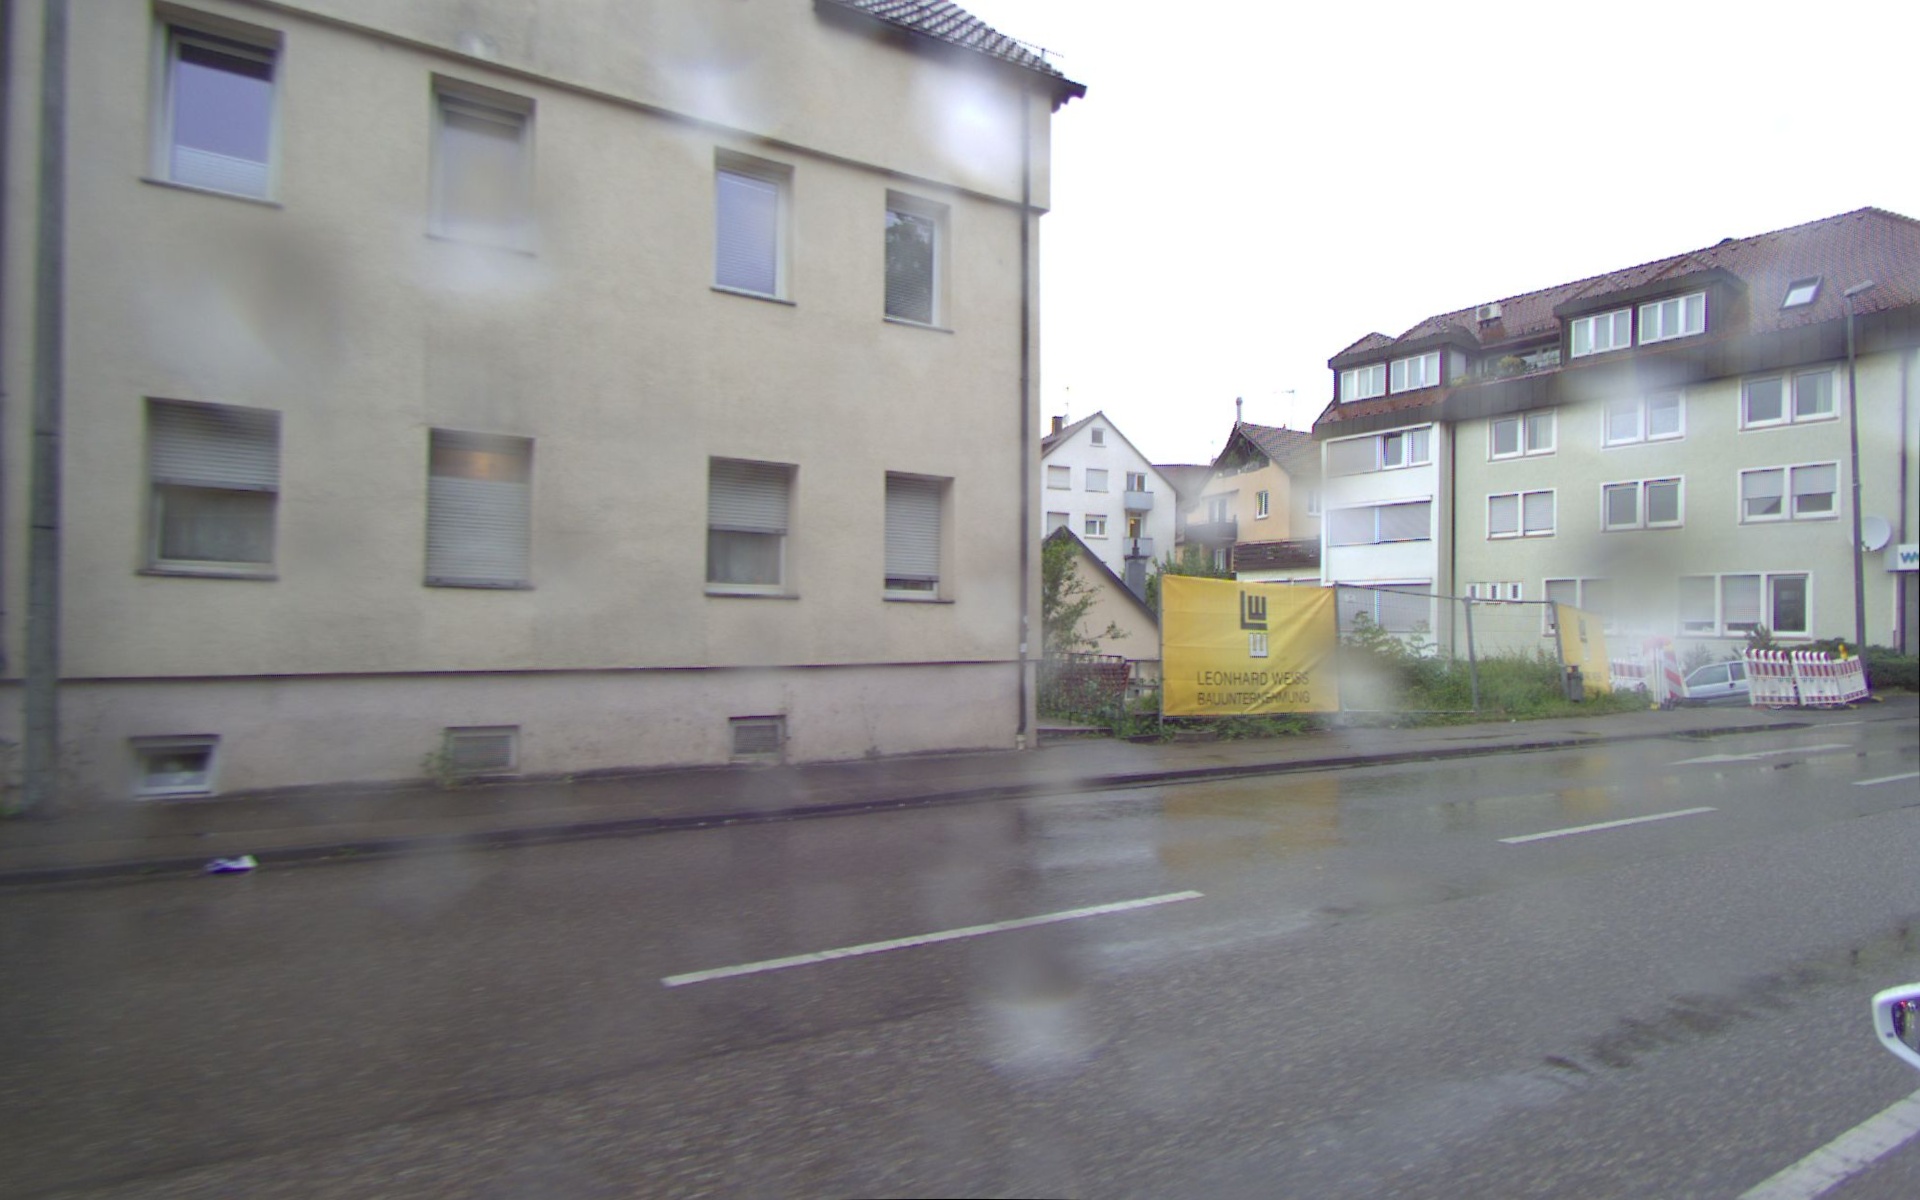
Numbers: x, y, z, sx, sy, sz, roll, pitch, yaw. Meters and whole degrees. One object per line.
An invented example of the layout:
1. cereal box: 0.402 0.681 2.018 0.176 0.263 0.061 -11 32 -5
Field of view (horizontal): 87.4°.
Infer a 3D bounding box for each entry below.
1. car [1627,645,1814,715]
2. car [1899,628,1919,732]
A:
1. car: 19.773 2.116 26.218 1.637 1.407 3.476 -1 -8 -38
2. car: 16.916 1.245 15.938 4.226 1.592 1.807 1 -3 -31
